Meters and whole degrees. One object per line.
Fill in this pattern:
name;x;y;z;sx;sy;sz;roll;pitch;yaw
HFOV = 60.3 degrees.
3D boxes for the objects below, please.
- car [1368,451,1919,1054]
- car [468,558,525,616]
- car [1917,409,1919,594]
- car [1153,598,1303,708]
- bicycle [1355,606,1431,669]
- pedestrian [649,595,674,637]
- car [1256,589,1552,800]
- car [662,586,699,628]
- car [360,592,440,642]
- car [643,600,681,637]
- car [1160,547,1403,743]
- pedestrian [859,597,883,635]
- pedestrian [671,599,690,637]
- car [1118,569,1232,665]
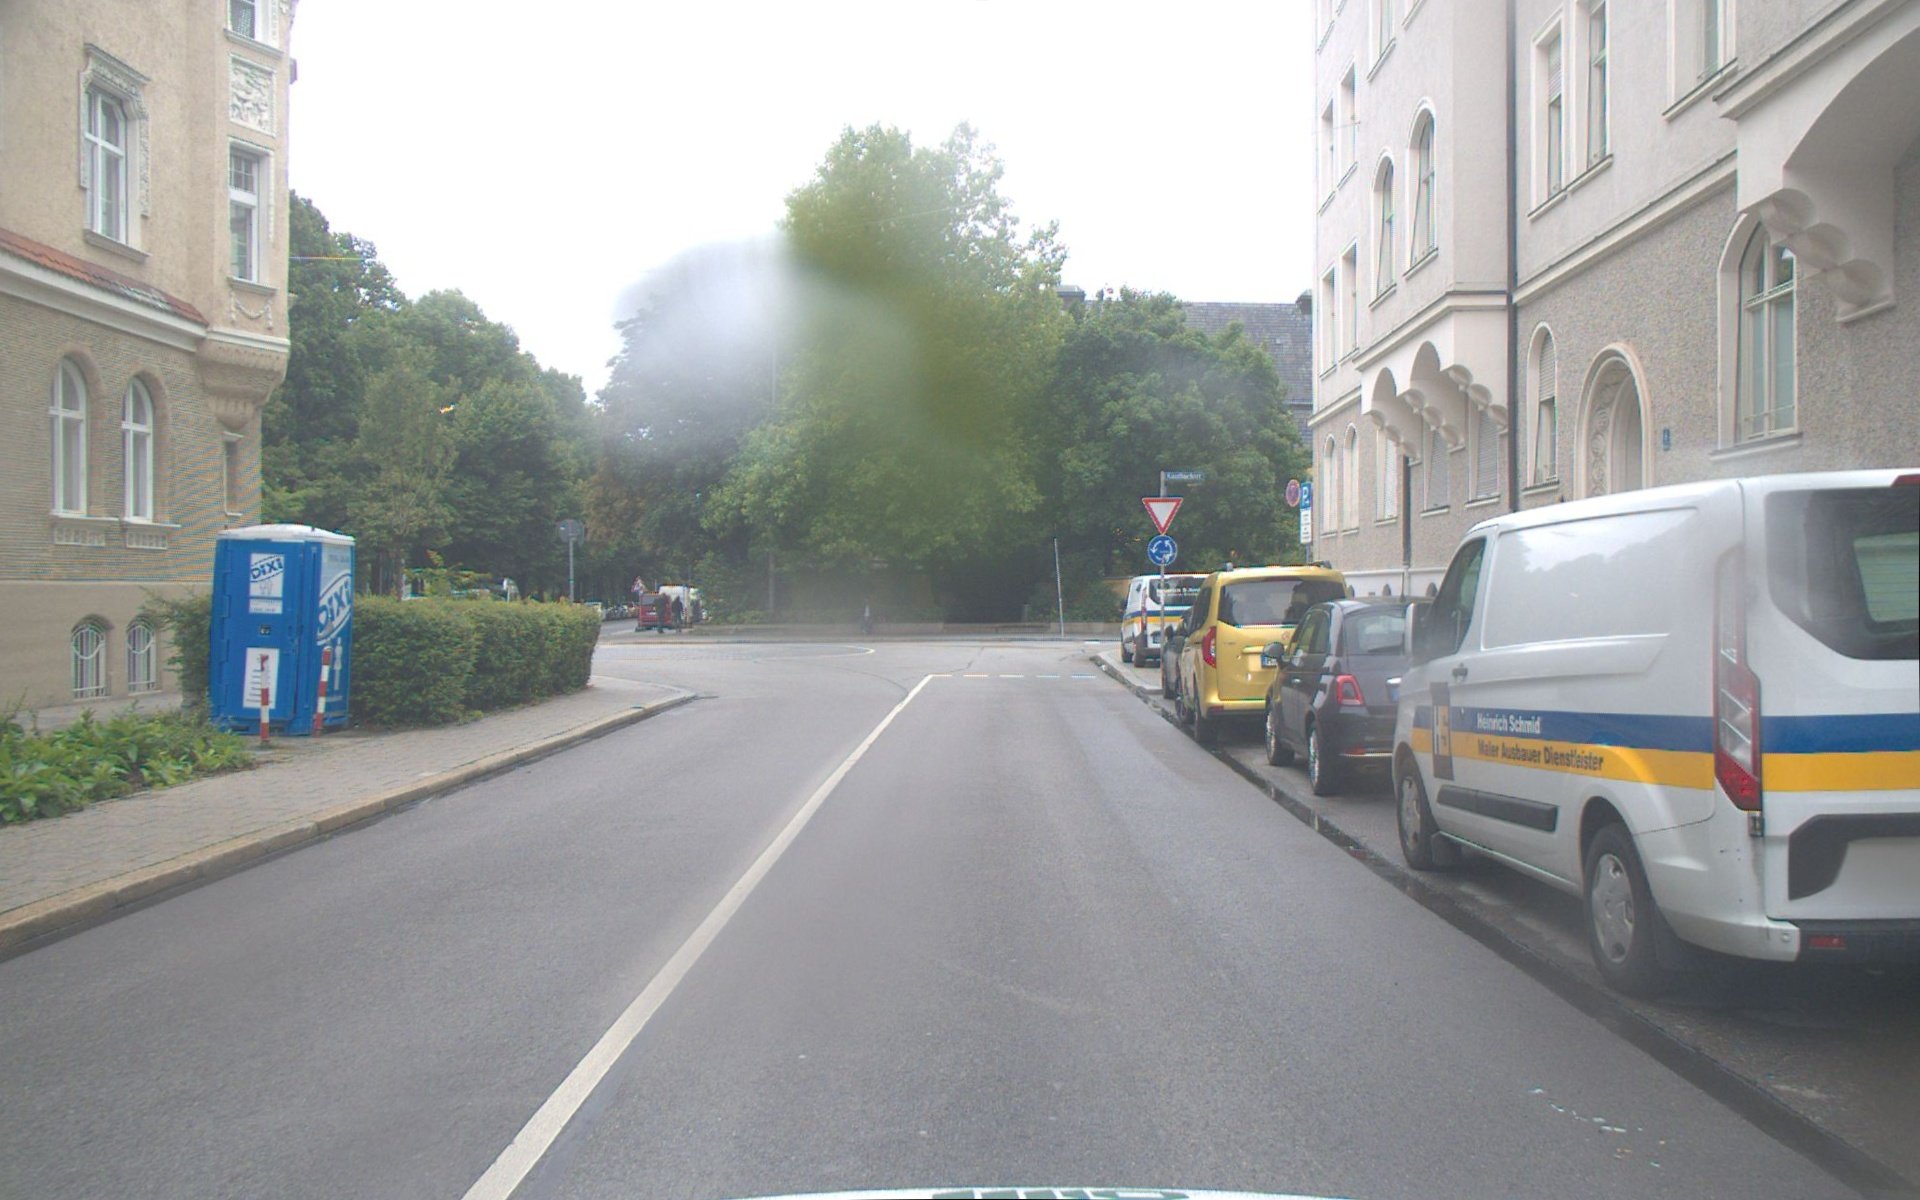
car;3.522;0.485;7.828;1.953;1.952;4.886;-1;0;0
car;-25.654;-0.690;91.752;2.131;3.055;6.223;-1;0;-7
car;3.496;0.476;1.824;1.953;1.952;4.876;-1;0;-1
car;3.851;0.715;24.302;1.677;1.470;3.828;-1;0;2
bicycle;8.636;0.725;33.113;0.821;1.132;2.758;-4;0;2
pedestrian;-13.423;0.731;74.434;0.812;1.868;0.941;-1;0;-33
car;3.596;0.686;14.045;1.599;1.540;3.886;0;0;2
car;-17.873;0.431;105.877;1.955;2.603;5.423;-1;0;-6
car;-23.077;0.677;68.338;2.043;1.937;4.853;-1;0;-5
car;-16.234;0.983;90.233;1.875;1.971;4.959;0;0;-8
car;3.523;0.450;18.980;1.952;1.952;4.571;-1;0;1
pedestrian;-3.240;0.577;60.279;0.753;1.380;1.132;0;0;3
pedestrian;-12.539;0.792;74.202;0.626;1.696;0.691;-1;0;-28
car;4.740;0.341;37.166;1.898;1.955;5.375;-2;0;1
